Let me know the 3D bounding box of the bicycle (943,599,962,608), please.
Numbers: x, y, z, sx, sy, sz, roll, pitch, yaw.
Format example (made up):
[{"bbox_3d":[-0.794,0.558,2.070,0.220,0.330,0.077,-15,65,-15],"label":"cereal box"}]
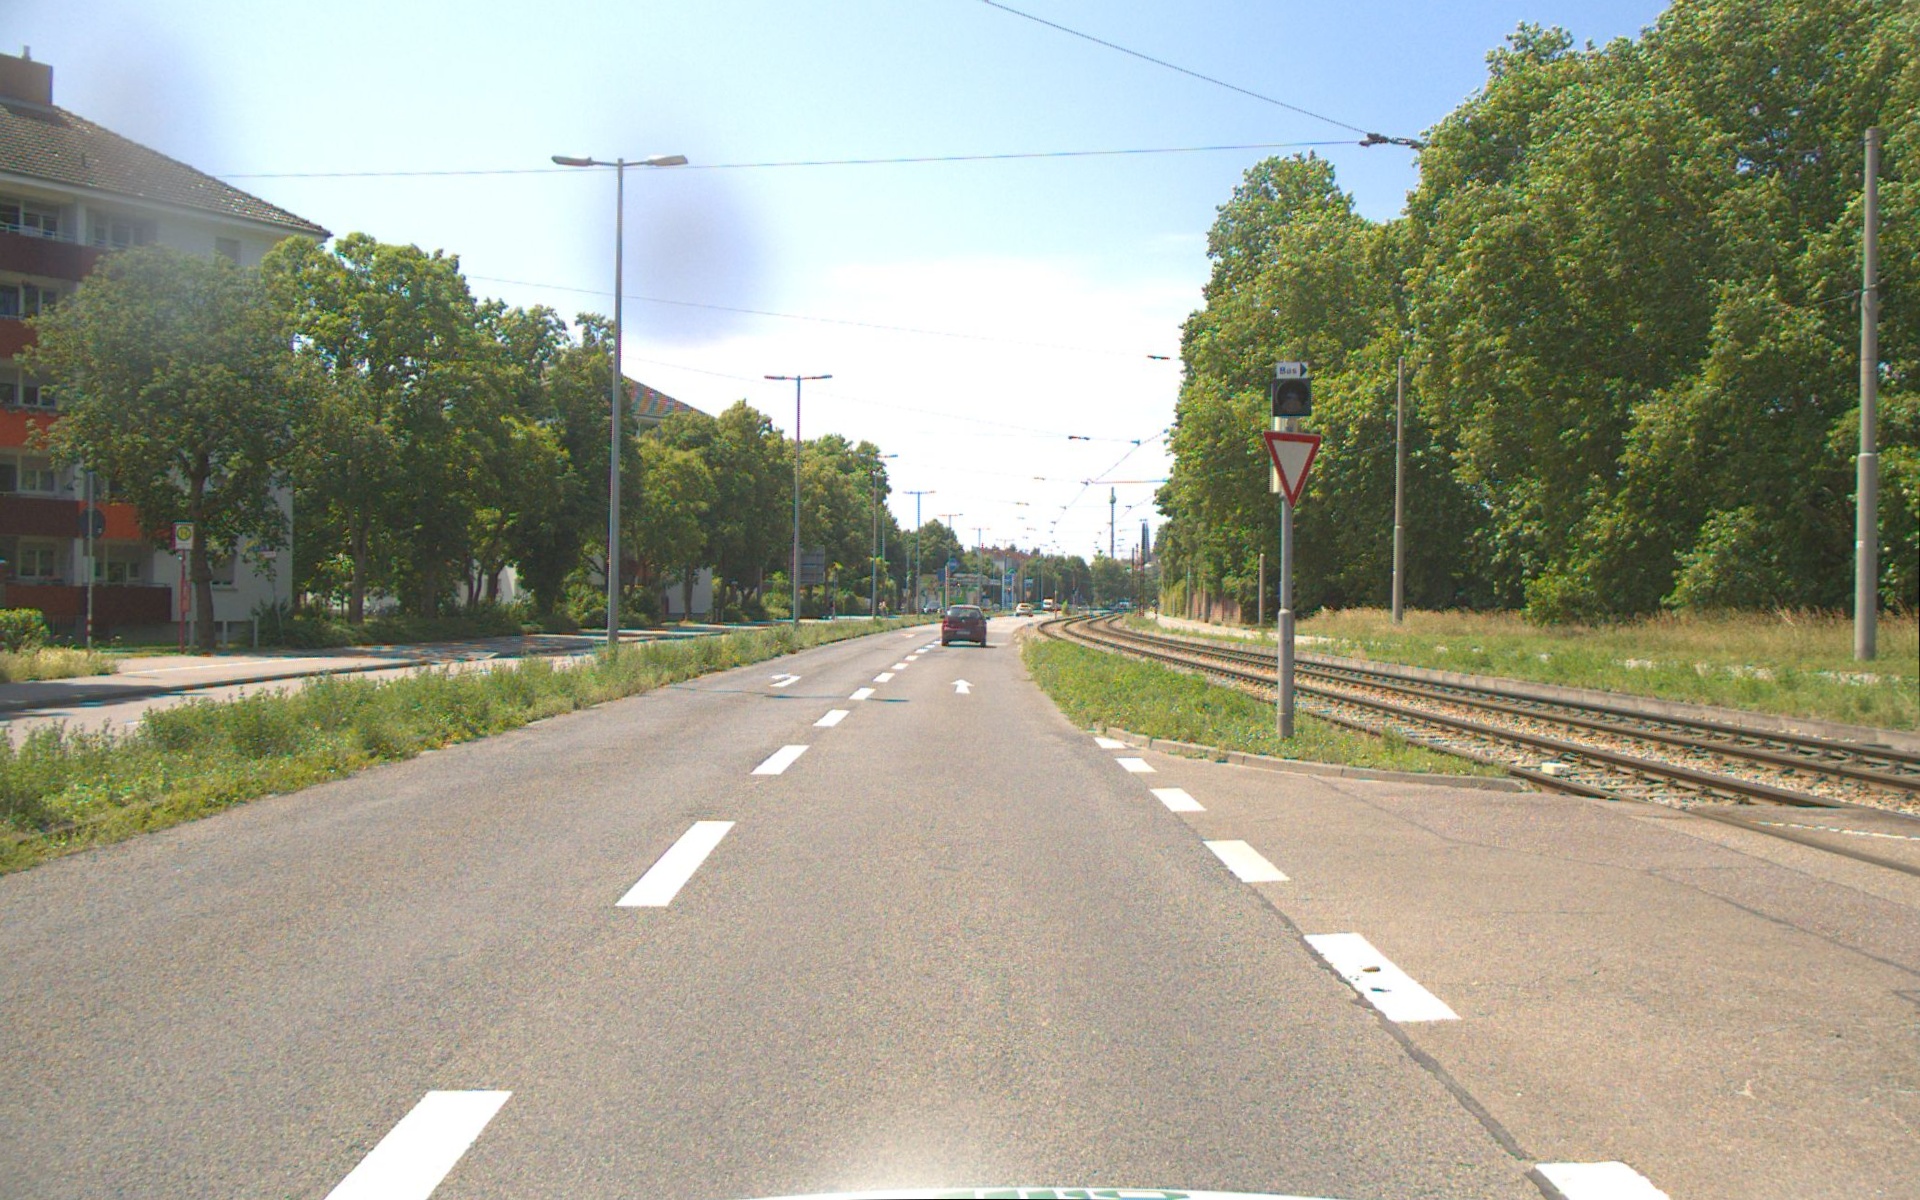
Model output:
[{"bbox_3d":[-1.080,0.467,229.951,2.502,1.056,1.086,2,-1,-8],"label":"bicycle"}]

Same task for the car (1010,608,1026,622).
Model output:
[{"bbox_3d":[6.761,1.744,192.827,1.668,1.506,3.717,3,-1,1],"label":"car"}]

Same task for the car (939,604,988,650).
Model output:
[{"bbox_3d":[0.102,0.964,60.526,1.668,1.503,3.716,3,0,0],"label":"car"}]

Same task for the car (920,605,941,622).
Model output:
[{"bbox_3d":[-3.051,1.406,171.691,1.883,1.654,4.757,-1,-1,2],"label":"car"}]

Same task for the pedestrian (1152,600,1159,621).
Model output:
[{"bbox_3d":[17.059,0.921,144.396,0.647,1.756,0.817,0,0,5],"label":"pedestrian"}]
